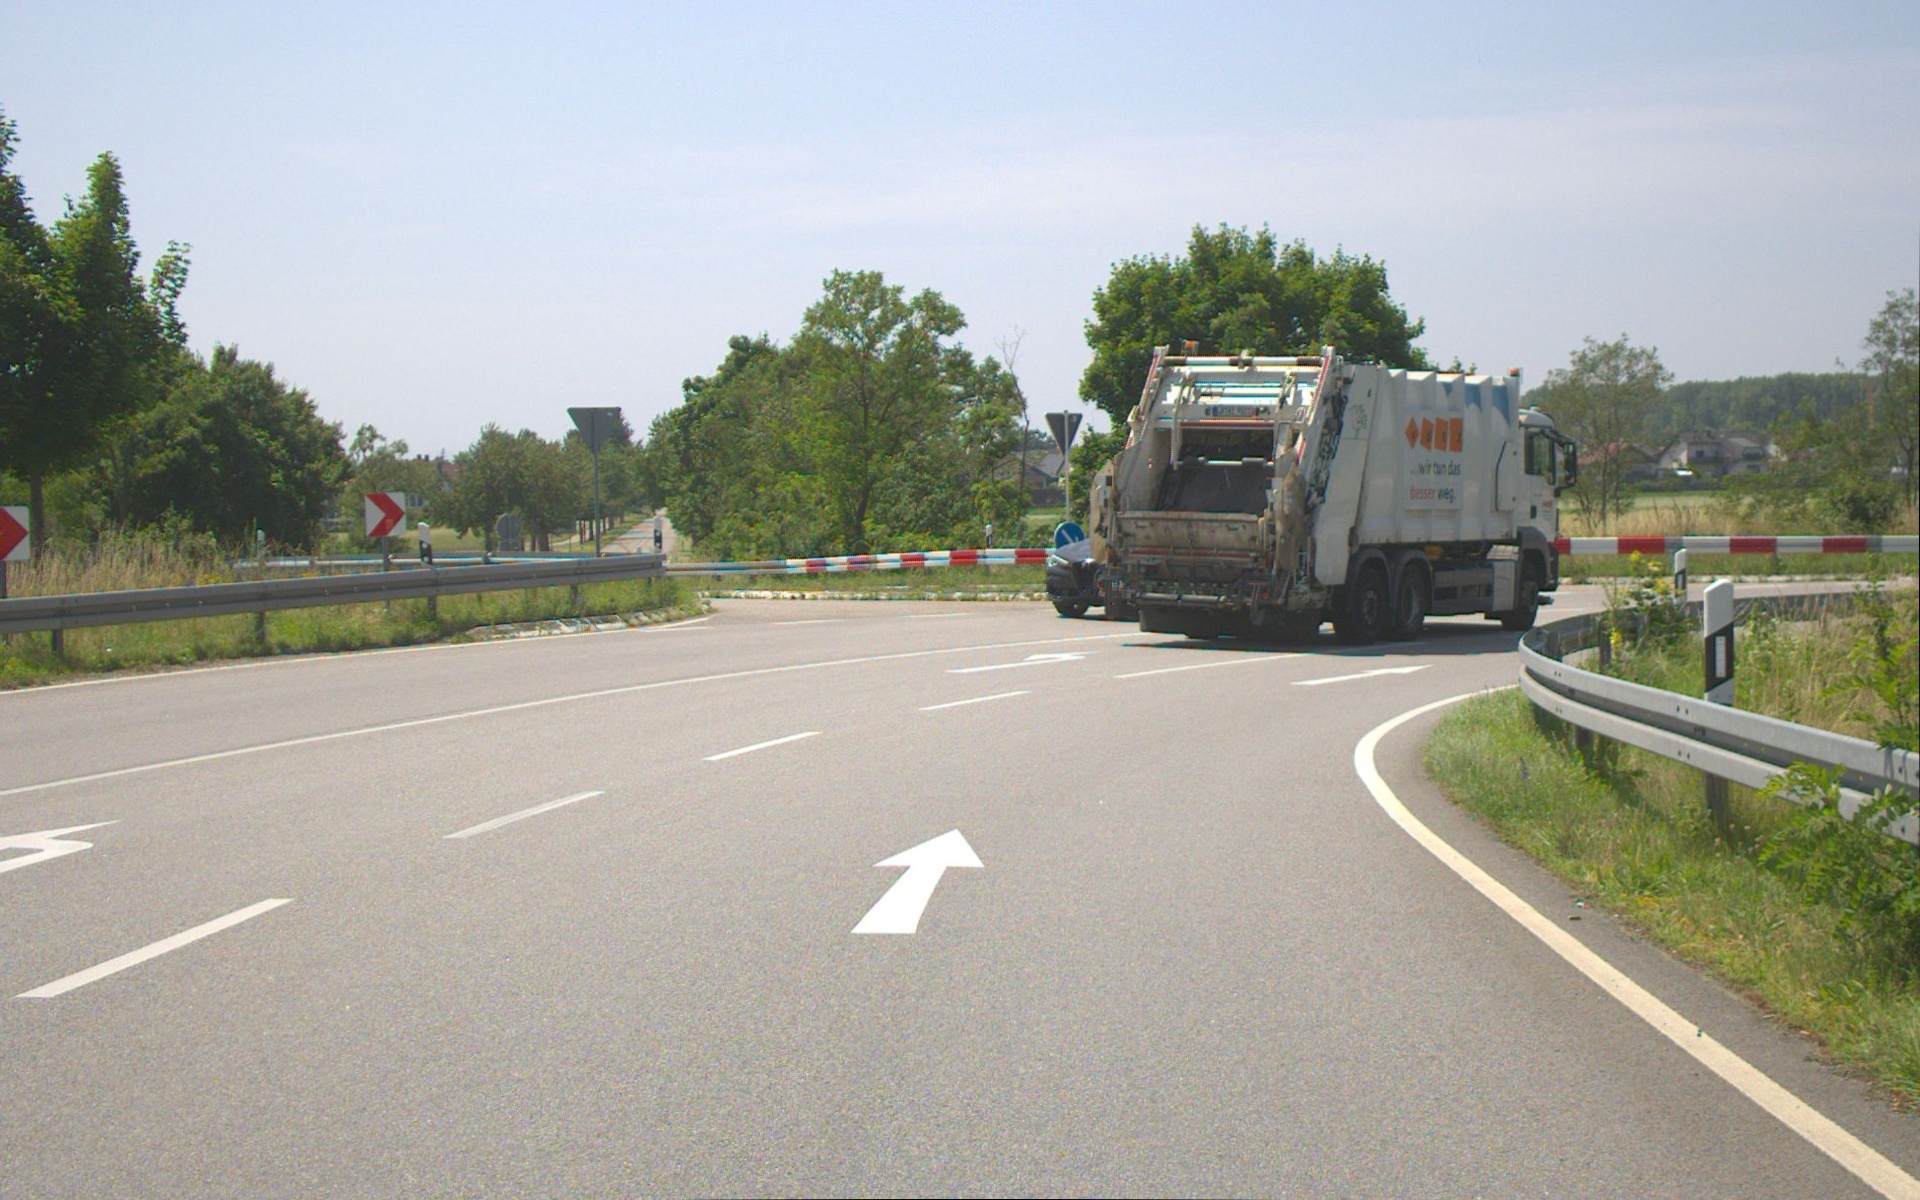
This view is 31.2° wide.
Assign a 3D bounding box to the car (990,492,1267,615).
[{"bbox_3d":[2.484,-0.692,49.699,1.715,1.652,4.558,3,3,37],"label":"car"}]

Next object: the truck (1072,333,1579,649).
[{"bbox_3d":[5.028,-1.350,44.824,2.817,3.656,9.932,1,1,29],"label":"truck"}]
